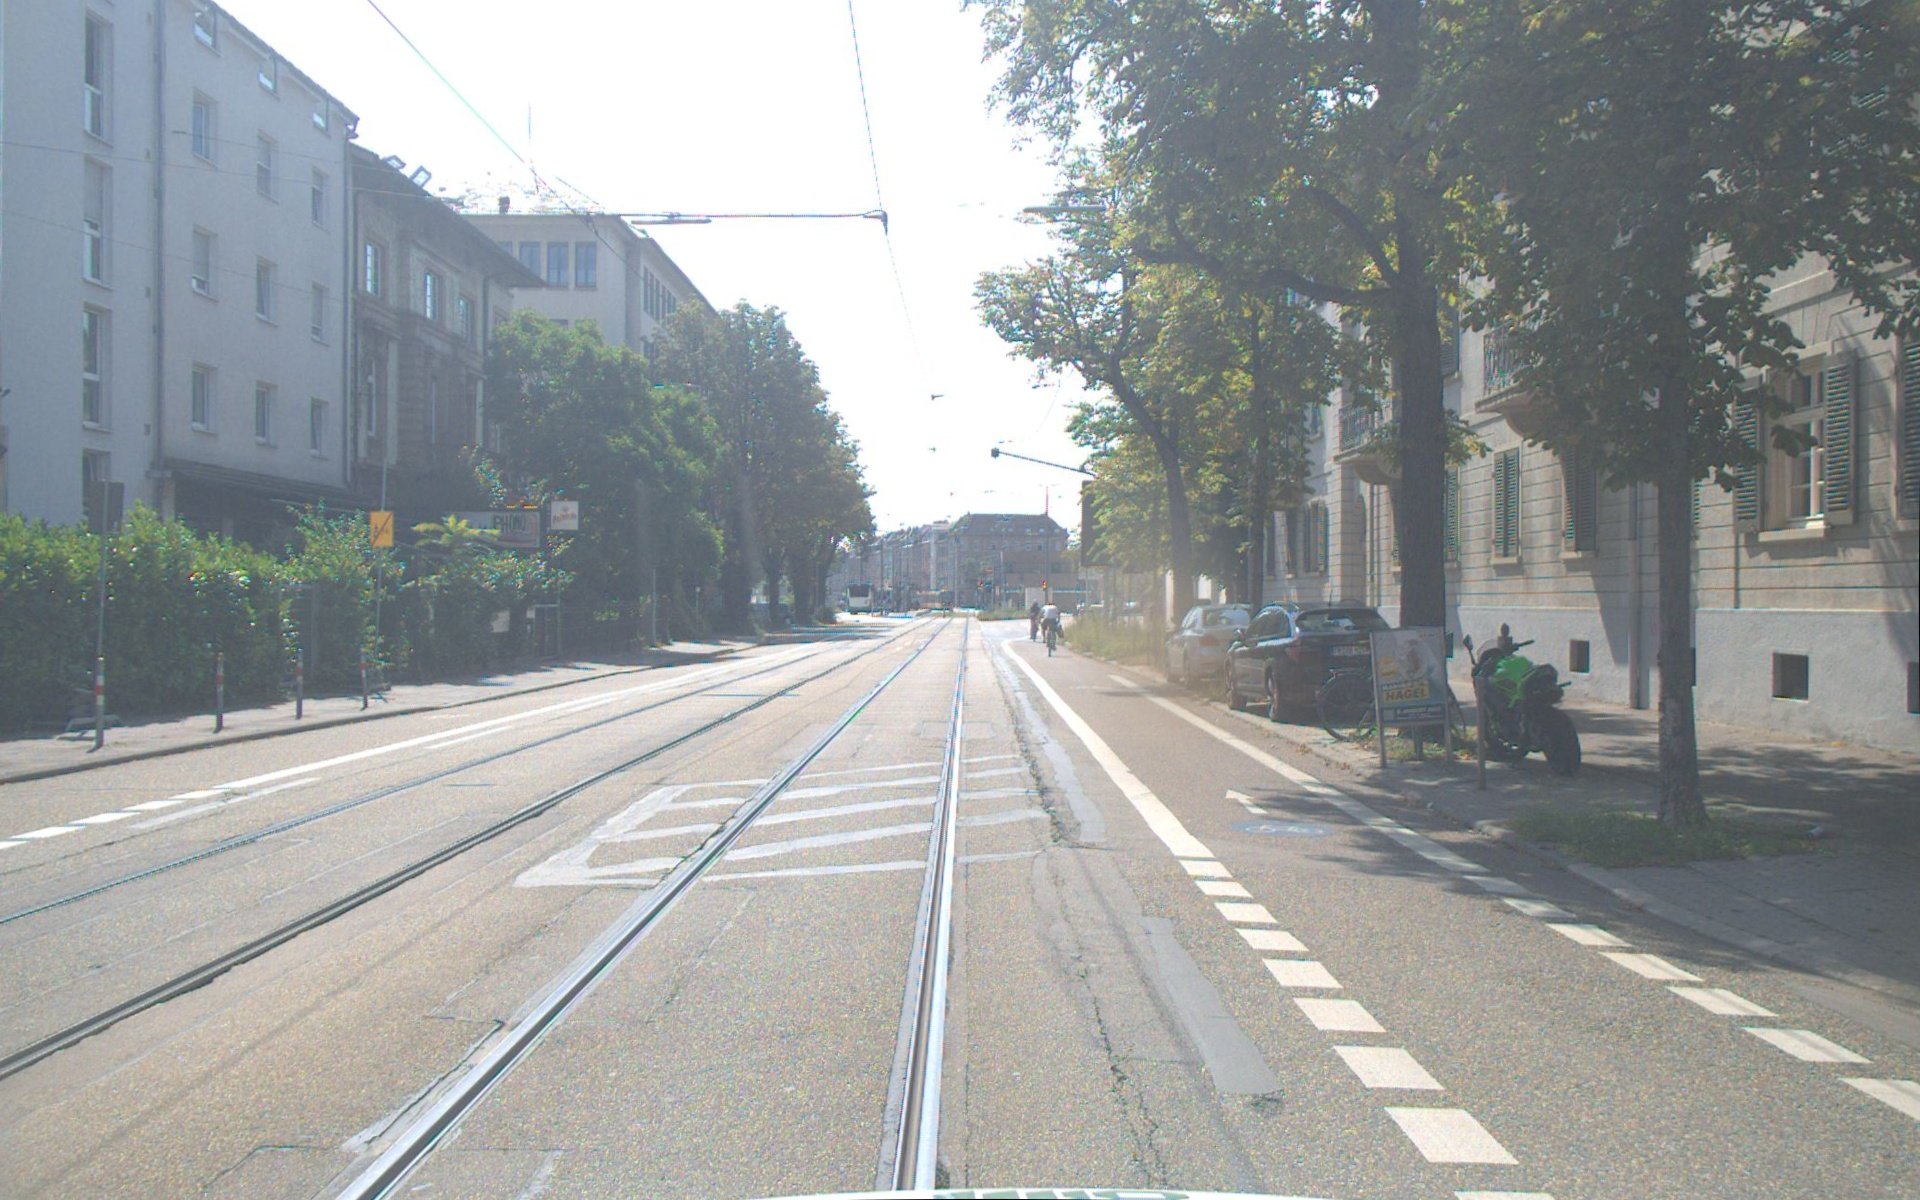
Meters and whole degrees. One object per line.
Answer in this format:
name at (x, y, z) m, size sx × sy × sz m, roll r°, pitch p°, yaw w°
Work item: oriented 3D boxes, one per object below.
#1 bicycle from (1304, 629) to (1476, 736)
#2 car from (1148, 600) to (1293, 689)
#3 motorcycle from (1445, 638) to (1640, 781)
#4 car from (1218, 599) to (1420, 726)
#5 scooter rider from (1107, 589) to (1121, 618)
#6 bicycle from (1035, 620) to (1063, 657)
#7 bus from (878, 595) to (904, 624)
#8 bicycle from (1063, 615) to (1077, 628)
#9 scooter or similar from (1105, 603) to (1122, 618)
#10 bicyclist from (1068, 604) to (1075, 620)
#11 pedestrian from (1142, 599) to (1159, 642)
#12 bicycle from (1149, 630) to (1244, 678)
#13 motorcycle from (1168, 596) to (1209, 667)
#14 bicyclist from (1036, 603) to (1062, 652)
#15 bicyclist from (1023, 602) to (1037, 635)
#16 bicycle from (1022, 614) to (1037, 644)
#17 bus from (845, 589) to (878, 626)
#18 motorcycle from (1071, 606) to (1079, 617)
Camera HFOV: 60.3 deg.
bicycle at (4.709, 0.896, 18.154) m, size 1.719 × 1.142 × 0.656 m, roll 0°, pitch 0°, yaw 0°
car at (4.647, 0.749, 30.188) m, size 1.746 × 1.476 × 4.749 m, roll -1°, pitch 0°, yaw -2°
motorcycle at (5.191, 0.932, 14.935) m, size 0.810 × 1.130 × 2.497 m, roll 0°, pitch 0°, yaw -2°
car at (4.742, 0.765, 22.473) m, size 1.629 × 1.533 × 4.433 m, roll -1°, pitch 0°, yaw -2°
scooter rider at (9.886, 0.226, 106.203) m, size 0.746 × 1.806 × 0.555 m, roll 0°, pitch -1°, yaw 17°
bicycle at (2.684, 1.143, 49.841) m, size 0.724 × 1.067 × 2.233 m, roll 1°, pitch 0°, yaw 0°
bus at (-9.313, 1.247, 223.826) m, size 2.653 × 3.792 × 10.420 m, roll 1°, pitch 0°, yaw 2°
bicycle at (9.802, 1.914, 147.687) m, size 0.437 × 1.136 × 1.438 m, roll -1°, pitch -1°, yaw 40°
scooter or similar at (9.883, 0.641, 106.203) m, size 0.756 × 0.943 × 1.621 m, roll 1°, pitch 0°, yaw 17°
bicyclist at (9.942, 1.079, 147.879) m, size 0.443 × 1.446 × 0.493 m, roll -1°, pitch -1°, yaw 41°
pedestrian at (7.808, 0.831, 67.797) m, size 0.677 × 1.762 × 0.579 m, roll 0°, pitch 0°, yaw 2°
bicycle at (4.882, 1.106, 34.211) m, size 1.882 × 0.969 × 0.721 m, roll 0°, pitch -1°, yaw 3°
motorcycle at (5.224, 0.709, 37.817) m, size 0.867 × 1.580 × 2.414 m, roll -1°, pitch -1°, yaw 8°
bicyclist at (2.669, 0.821, 49.702) m, size 0.729 × 1.436 × 0.962 m, roll 1°, pitch 0°, yaw 1°
bicyclist at (2.866, 0.764, 67.810) m, size 0.590 × 1.358 × 0.660 m, roll 0°, pitch 0°, yaw 2°
bicycle at (2.858, 1.191, 67.814) m, size 0.591 × 1.183 × 1.811 m, roll 0°, pitch 0°, yaw 2°
bus at (-10.564, 0.853, 178.495) m, size 2.897 × 3.841 × 10.595 m, roll 1°, pitch 0°, yaw 0°
motorcycle at (13.134, 1.260, 188.672) m, size 0.591 × 1.232 × 2.255 m, roll 0°, pitch 0°, yaw 11°
